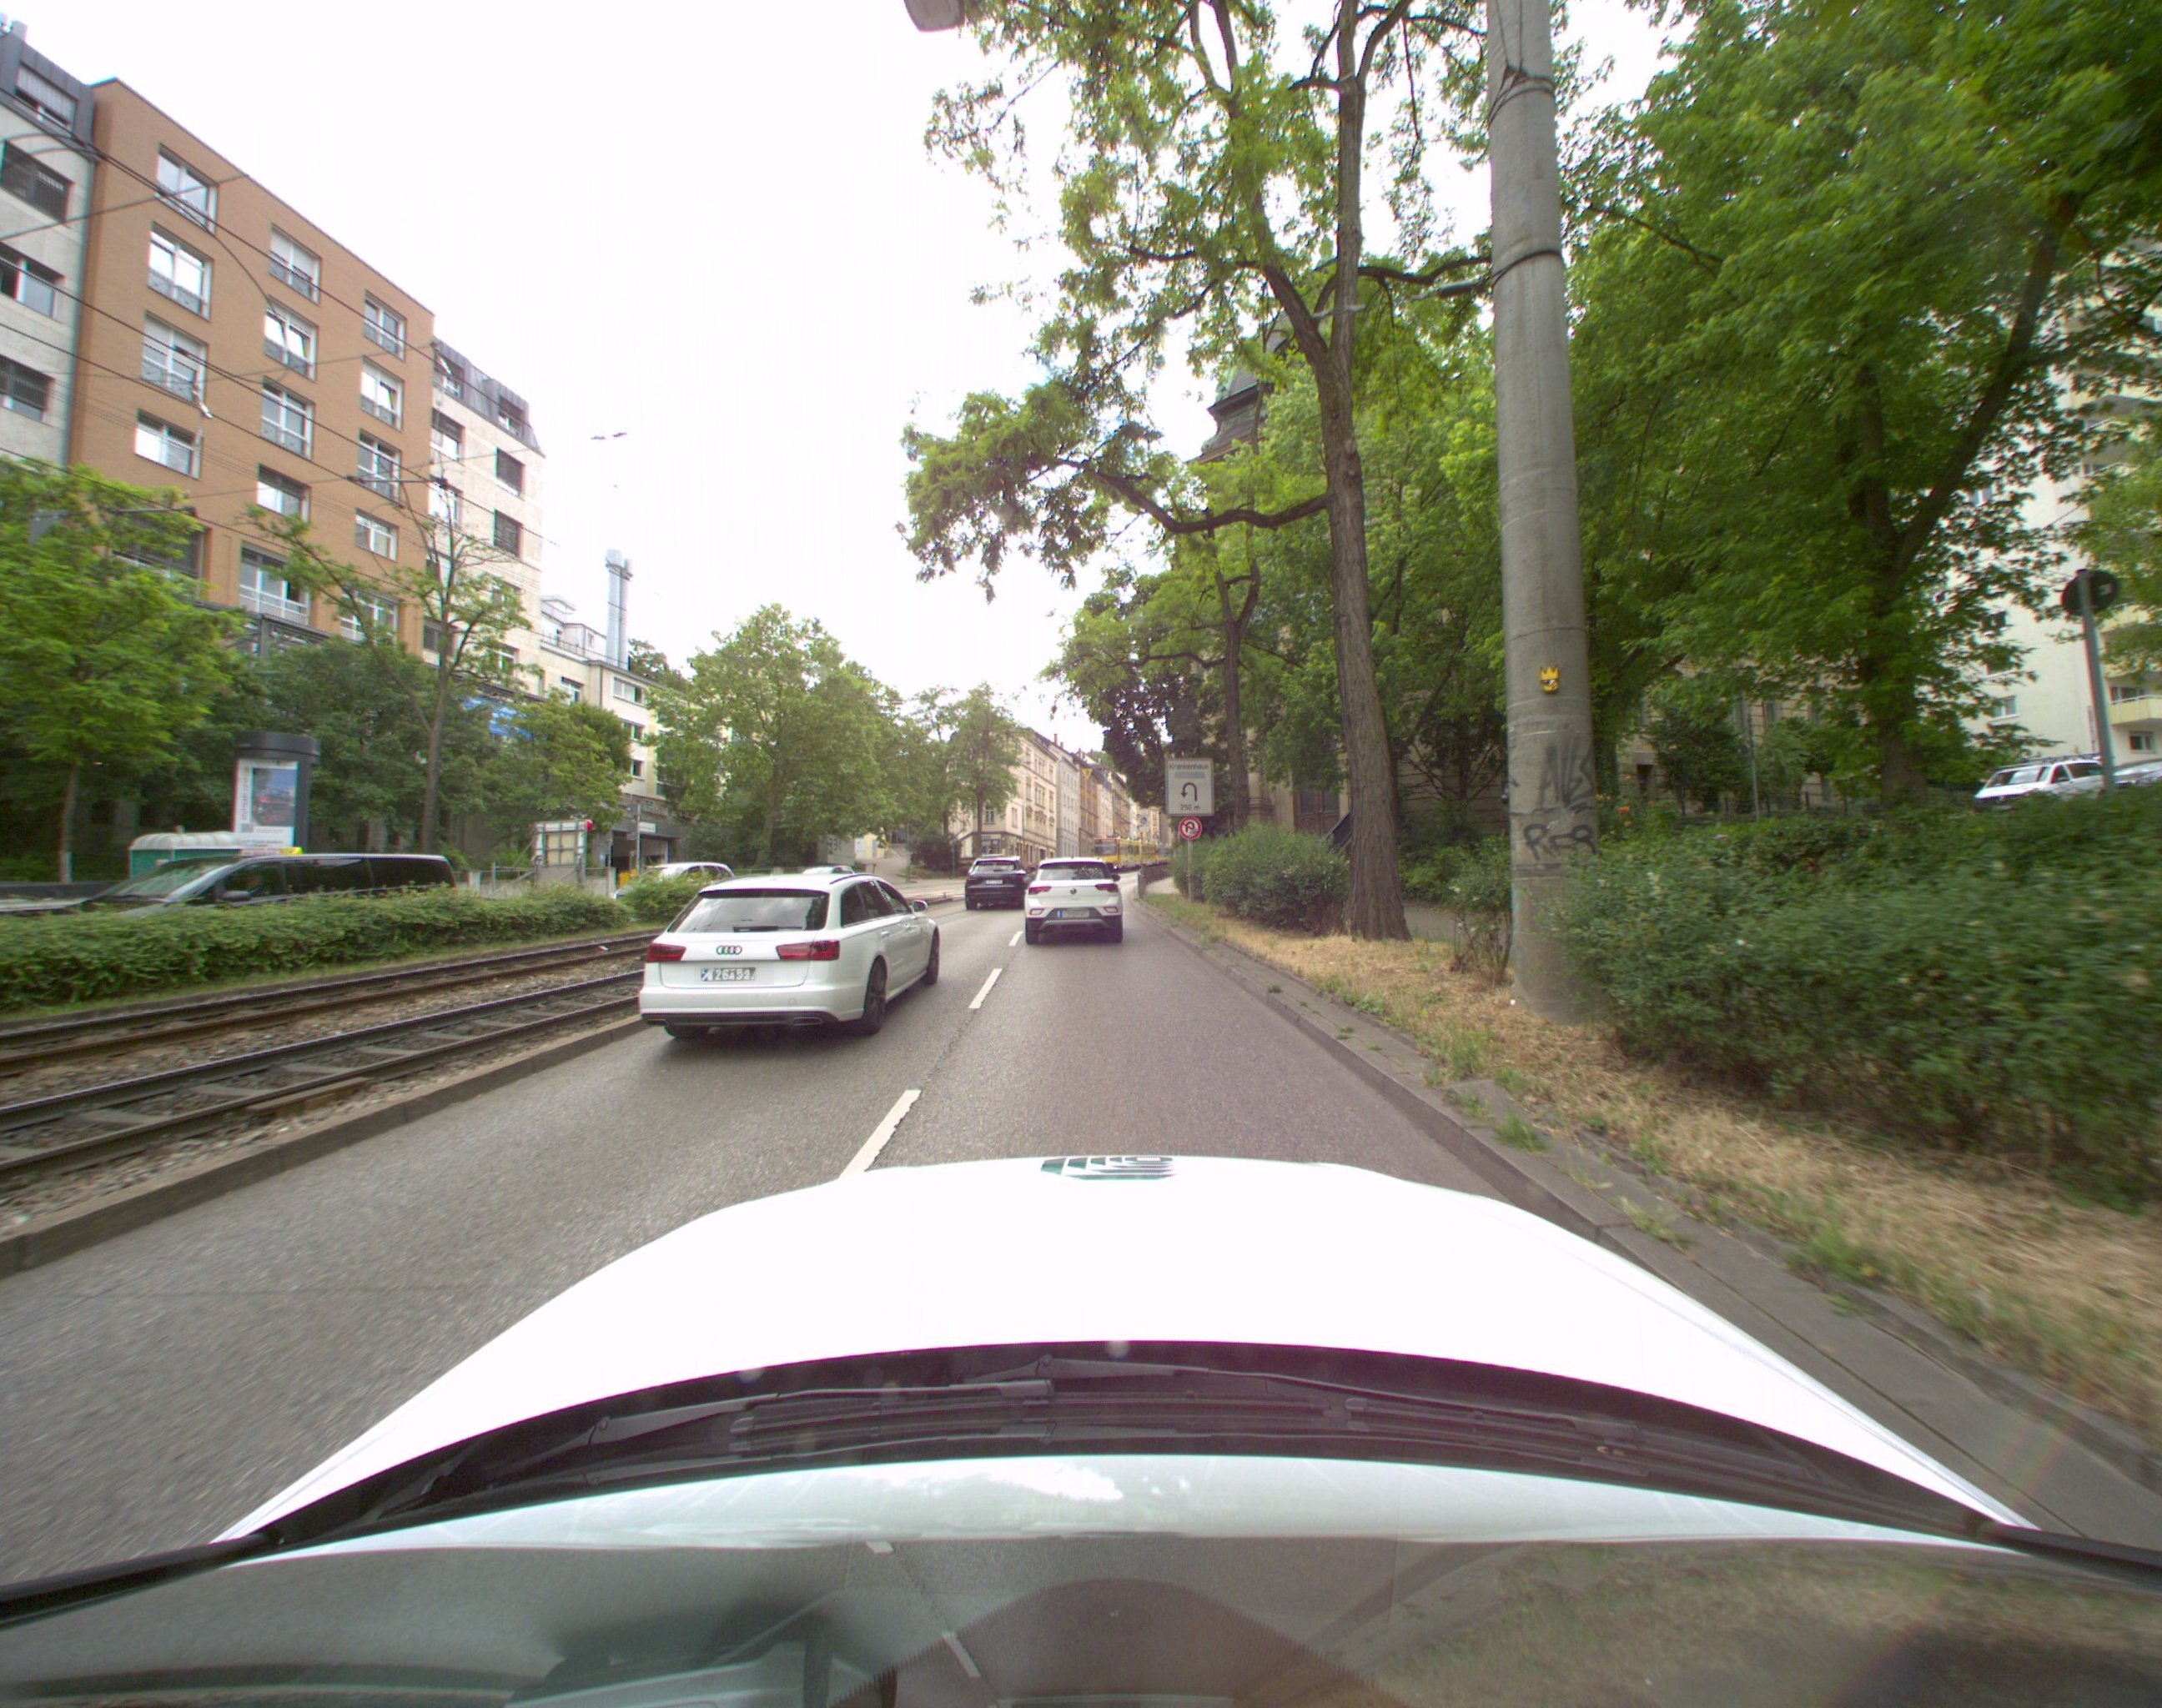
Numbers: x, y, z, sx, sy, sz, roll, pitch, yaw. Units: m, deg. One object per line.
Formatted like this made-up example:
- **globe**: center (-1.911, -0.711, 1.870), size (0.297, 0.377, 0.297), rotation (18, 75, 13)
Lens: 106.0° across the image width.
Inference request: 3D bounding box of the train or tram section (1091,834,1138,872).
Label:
- **train or tram section**: center (3.829, -0.066, 87.480), size (2.864, 3.726, 14.900), rotation (0, 0, 11)

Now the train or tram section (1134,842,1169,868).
- **train or tram section**: center (10.804, 0.189, 122.772), size (2.857, 3.726, 18.819), rotation (0, 0, 12)

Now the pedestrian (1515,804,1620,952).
- **pedestrian**: center (5.905, 0.283, 9.929), size (0.768, 1.703, 0.786), rotation (-2, -1, 3)

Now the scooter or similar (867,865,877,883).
- **scooter or similar**: center (-14.619, 1.396, 57.071), size (0.489, 1.219, 1.636), rotation (1, -1, -9)

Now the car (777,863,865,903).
- **car**: center (-10.461, 1.132, 33.075), size (1.756, 1.408, 4.092), rotation (-2, 0, 8)

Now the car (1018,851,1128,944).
- **car**: center (-0.201, 0.763, 16.069), size (1.874, 1.554, 3.997), rotation (-1, -1, -2)

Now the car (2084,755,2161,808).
- **car**: center (41.150, -2.722, 31.164), size (4.890, 1.754, 1.986), rotation (-1, -2, -20)

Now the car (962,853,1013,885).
- **car**: center (-6.113, 0.937, 53.933), size (1.935, 1.946, 5.017), rotation (-1, 0, 11)

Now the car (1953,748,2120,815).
- **car**: center (34.973, -2.650, 29.833), size (5.219, 1.933, 2.163), rotation (-5, -2, -20)

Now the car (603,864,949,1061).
- **car**: center (-2.726, 0.863, 8.593), size (1.873, 1.455, 4.616), rotation (-1, -1, 0)

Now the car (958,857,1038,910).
- **car**: center (-2.617, 0.917, 26.863), size (2.030, 1.571, 4.359), rotation (-1, -1, 2)

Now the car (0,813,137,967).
- **car**: center (-19.525, 0.638, 12.489), size (2.144, 2.594, 6.352), rotation (-2, 0, 9)

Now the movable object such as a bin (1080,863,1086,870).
- **movable object such as a bin**: center (0.282, 1.830, 119.373), size (0.774, 0.948, 0.655), rotation (-1, -1, 11)

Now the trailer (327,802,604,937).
- **trailer**: center (-15.292, 0.354, 20.794), size (2.005, 2.973, 5.609), rotation (0, 0, 13)

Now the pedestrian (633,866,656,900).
- **pedestrian**: center (-24.996, 1.642, 46.643), size (0.806, 1.911, 0.796), rotation (-2, -1, 11)

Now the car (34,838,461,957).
- **car**: center (-13.379, 0.617, 13.606), size (1.981, 1.605, 4.623), rotation (-2, 0, 10)

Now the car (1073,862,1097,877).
- **car**: center (0.500, 1.659, 88.946), size (1.982, 1.552, 4.010), rotation (-2, -1, 9)

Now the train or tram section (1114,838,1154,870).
- **train or tram section**: center (6.974, 0.041, 104.014), size (2.858, 3.726, 18.757), rotation (0, 0, 11)

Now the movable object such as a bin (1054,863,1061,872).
- **movable object such as a bin**: center (-2.915, 1.682, 101.572), size (0.682, 1.074, 0.679), rotation (-1, -1, 11)

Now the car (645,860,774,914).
- **car**: center (-11.251, 0.962, 24.979), size (1.648, 1.443, 3.752), rotation (-2, 0, 12)

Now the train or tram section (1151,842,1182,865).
- **train or tram section**: center (14.903, -0.061, 140.673), size (2.856, 3.726, 18.824), rotation (0, 0, 13)
